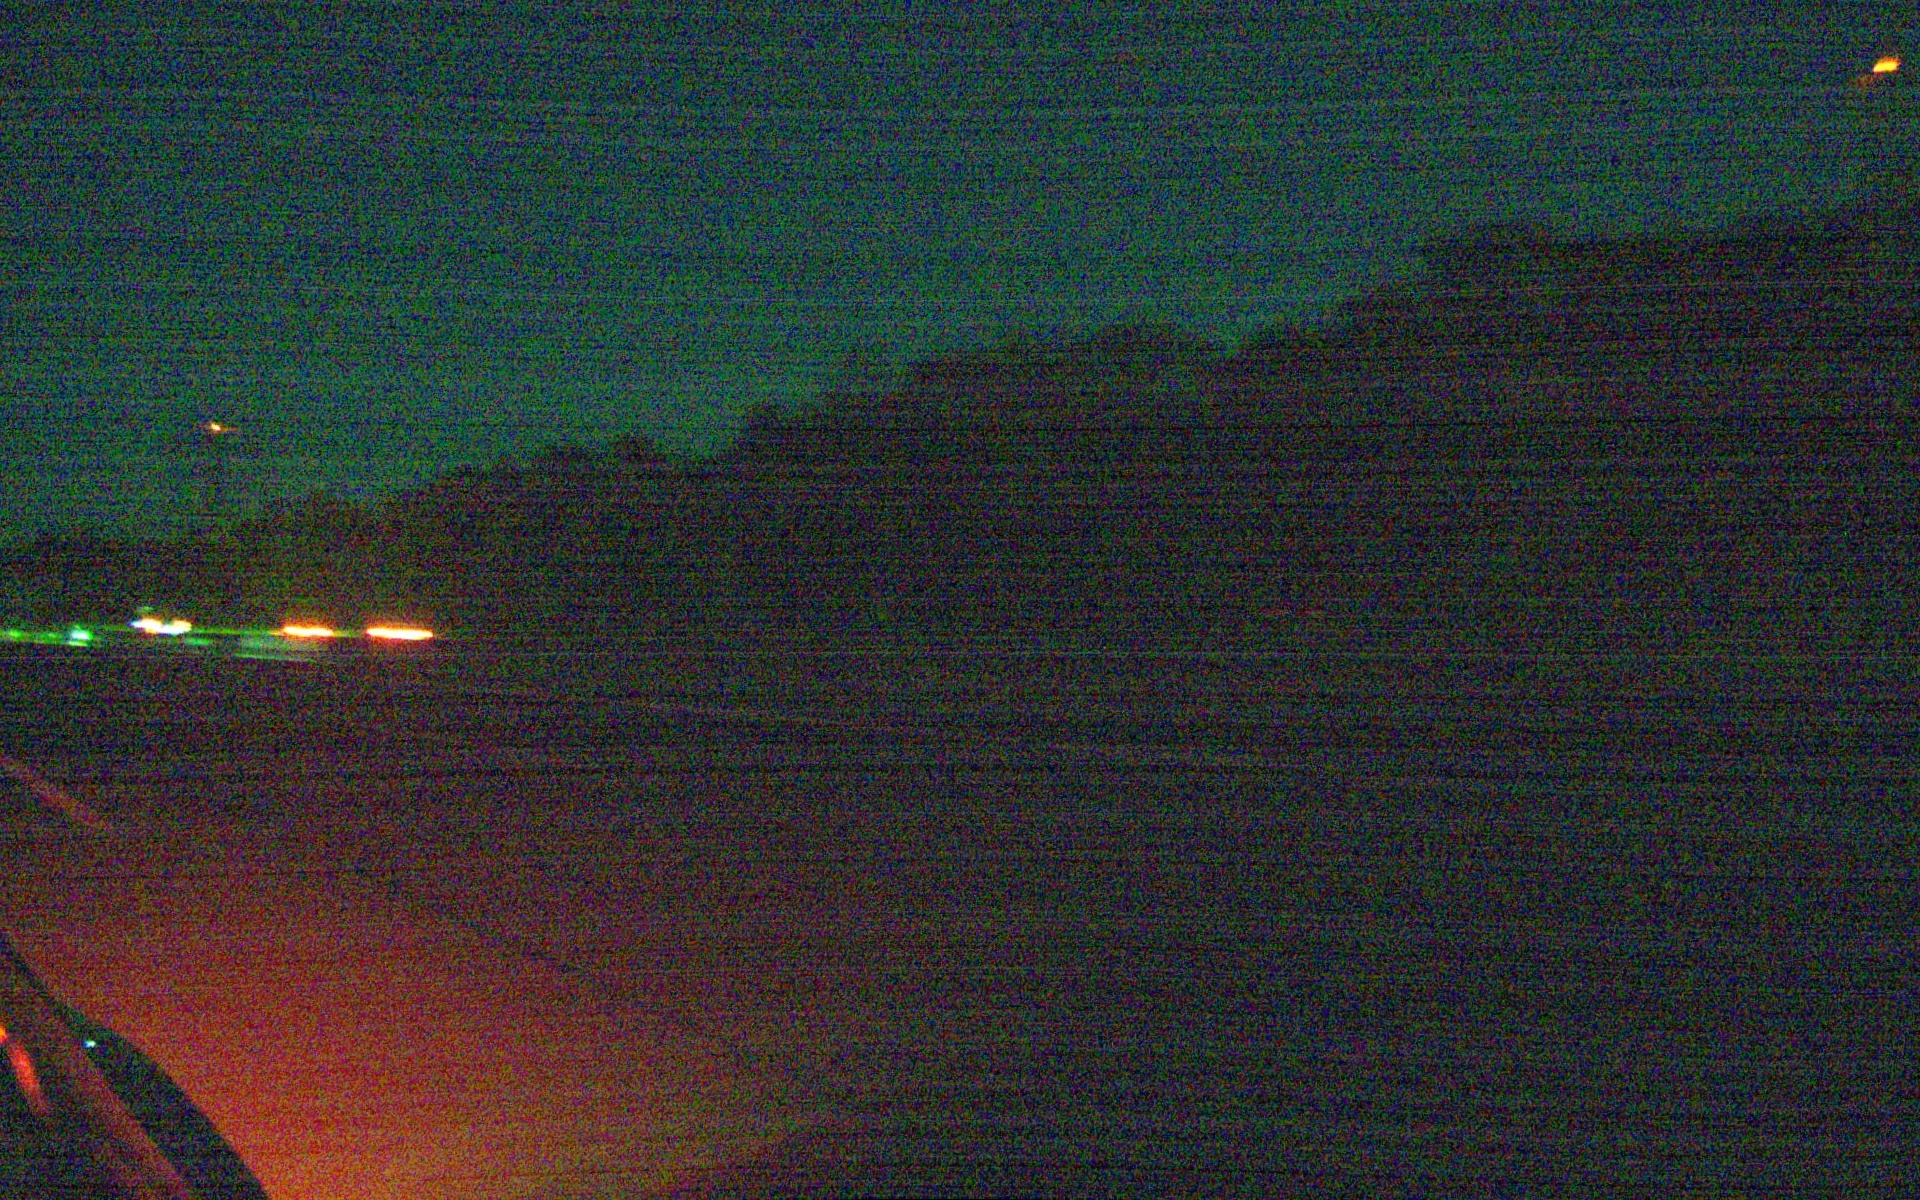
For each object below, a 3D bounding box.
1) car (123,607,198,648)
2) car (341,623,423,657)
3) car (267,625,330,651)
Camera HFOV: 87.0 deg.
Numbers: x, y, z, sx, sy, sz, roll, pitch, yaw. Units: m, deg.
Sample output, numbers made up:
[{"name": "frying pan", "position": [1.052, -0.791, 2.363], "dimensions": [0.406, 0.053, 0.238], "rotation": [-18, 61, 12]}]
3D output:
[{"name": "car", "position": [-59.825, 2.028, 75.670], "dimensions": [7.710, 2.879, 2.924], "rotation": [-1, -1, 40]}, {"name": "car", "position": [-27.056, 1.844, 47.316], "dimensions": [4.702, 1.509, 1.842], "rotation": [-1, -1, 40]}, {"name": "car", "position": [-43.474, 2.447, 66.483], "dimensions": [5.071, 1.610, 2.031], "rotation": [-1, -1, 39]}]
